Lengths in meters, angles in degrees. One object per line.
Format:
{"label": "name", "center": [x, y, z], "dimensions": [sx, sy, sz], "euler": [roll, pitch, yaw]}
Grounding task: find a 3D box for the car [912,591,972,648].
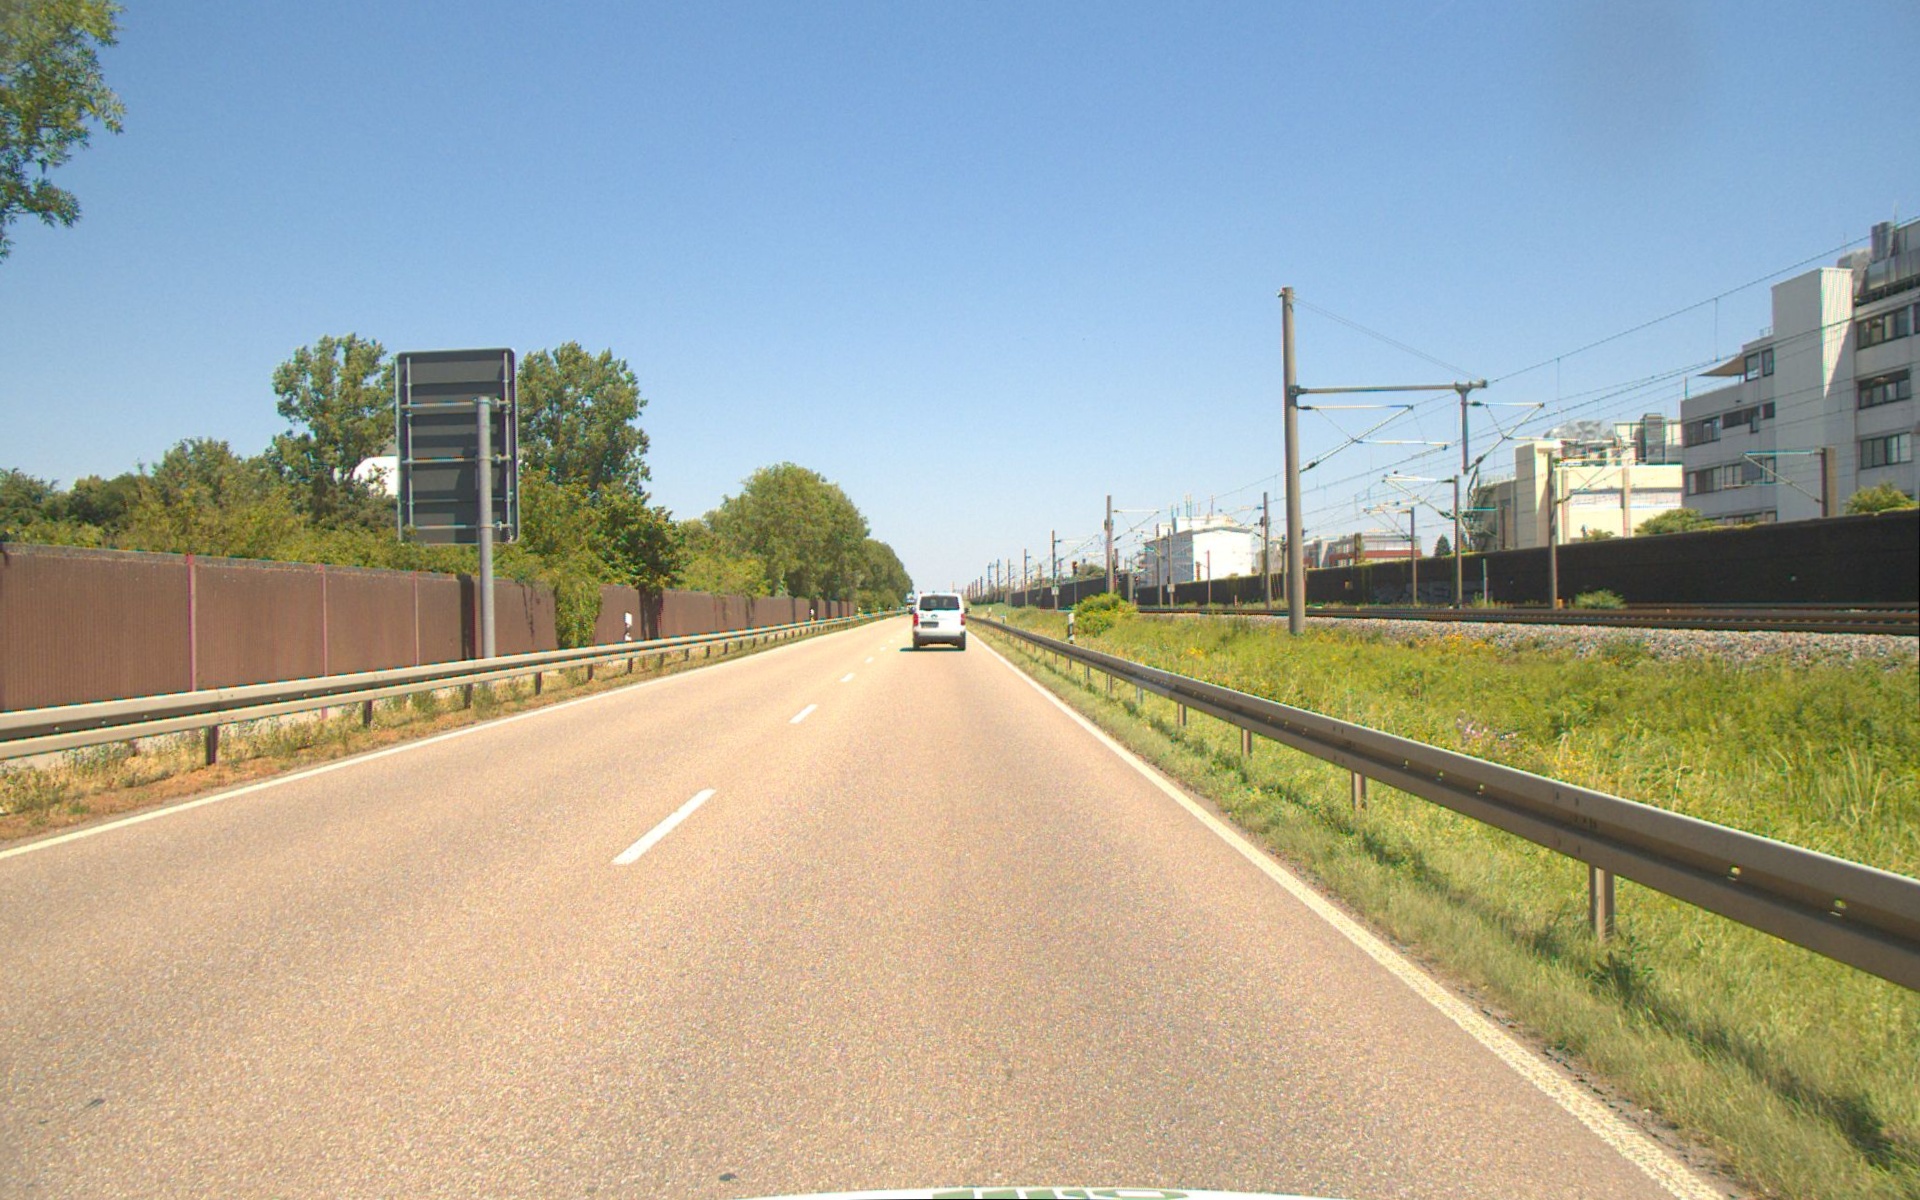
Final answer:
{"label": "car", "center": [-0.627, 0.654, 57.364], "dimensions": [1.953, 1.882, 3.999], "euler": [1, 0, -1]}
